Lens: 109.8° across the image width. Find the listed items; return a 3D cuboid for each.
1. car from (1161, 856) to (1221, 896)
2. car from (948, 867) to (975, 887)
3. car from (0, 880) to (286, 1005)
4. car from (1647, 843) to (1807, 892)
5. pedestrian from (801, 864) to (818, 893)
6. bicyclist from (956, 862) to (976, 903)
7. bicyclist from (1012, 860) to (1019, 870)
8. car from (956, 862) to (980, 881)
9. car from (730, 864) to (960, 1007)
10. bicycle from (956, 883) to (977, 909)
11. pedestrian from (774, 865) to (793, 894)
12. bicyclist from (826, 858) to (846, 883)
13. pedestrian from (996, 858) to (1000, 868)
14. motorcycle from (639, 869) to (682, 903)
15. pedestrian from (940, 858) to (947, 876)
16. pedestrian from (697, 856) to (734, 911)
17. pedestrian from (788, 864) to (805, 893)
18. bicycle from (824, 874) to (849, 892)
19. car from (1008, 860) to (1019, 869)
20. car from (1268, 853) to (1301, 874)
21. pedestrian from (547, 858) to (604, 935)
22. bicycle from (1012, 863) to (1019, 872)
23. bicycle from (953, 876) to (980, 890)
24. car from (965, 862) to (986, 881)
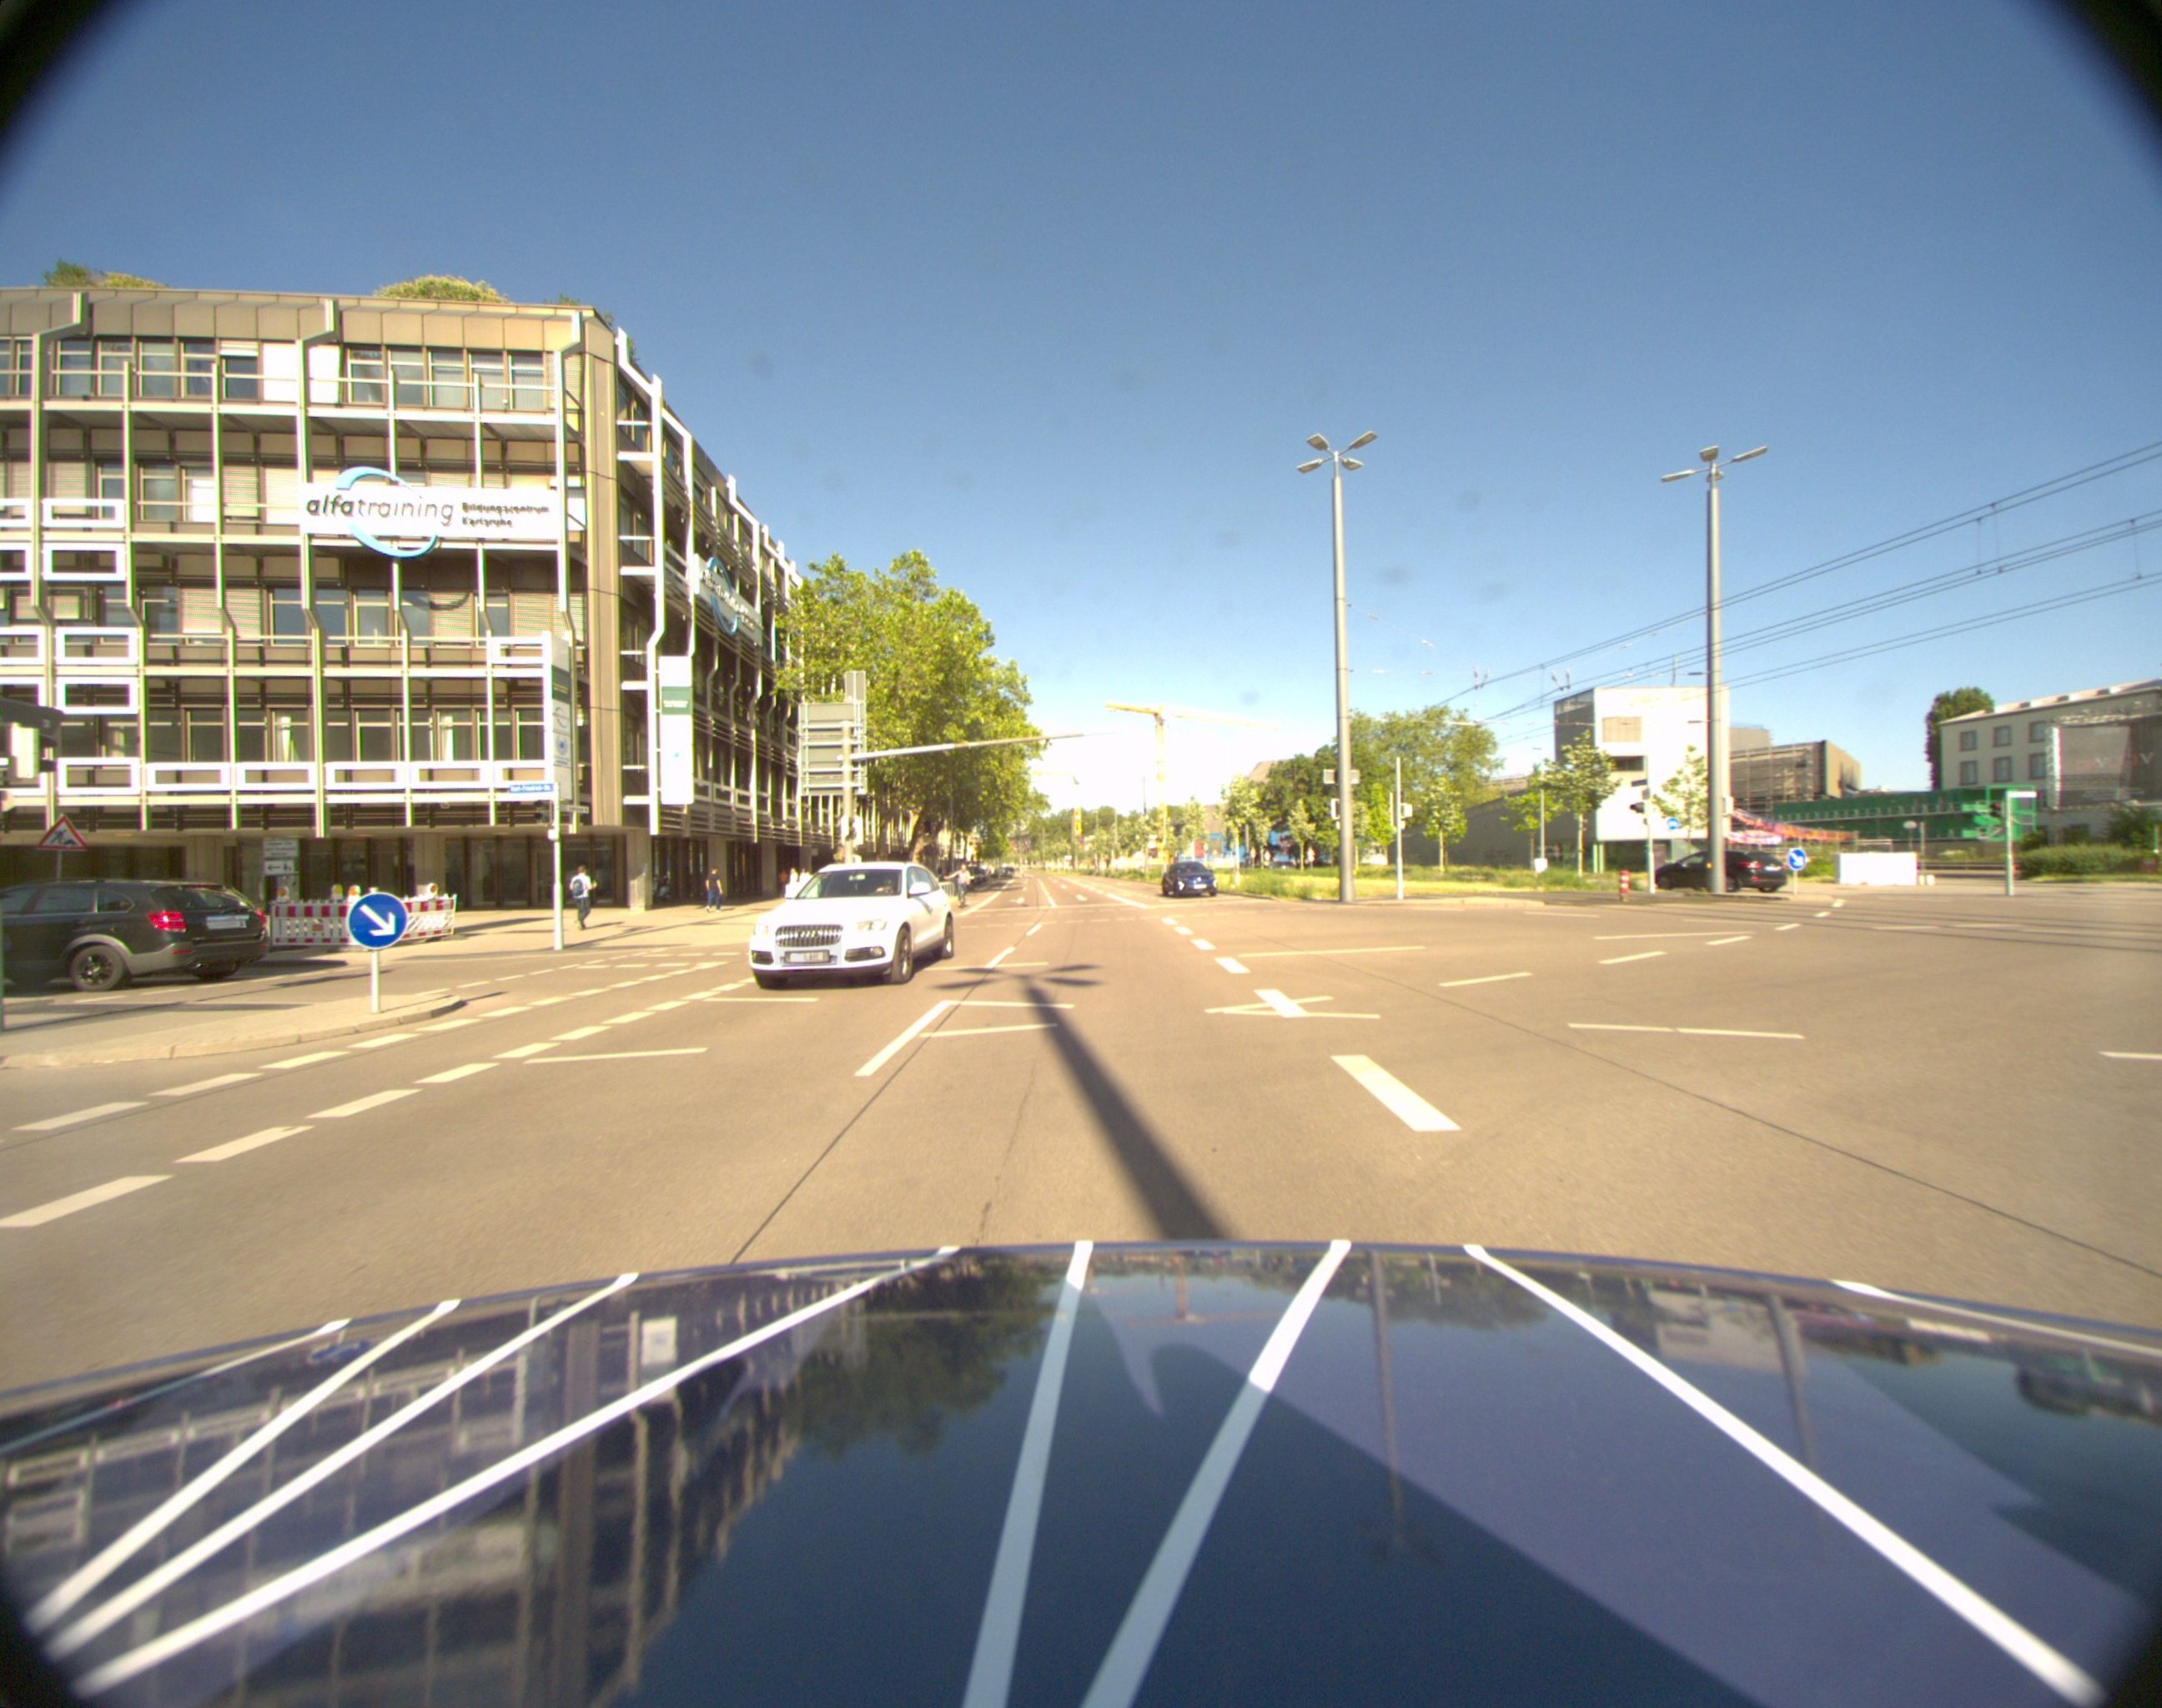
[{"bbox_3d":[4.829,0.944,33.978,1.775,1.579,4.087,-3,0,-4],"label":"car"},{"bbox_3d":[-9.630,1.831,61.275,1.753,1.481,4.558,0,0,-4],"label":"car"},{"bbox_3d":[-15.764,1.352,11.913,4.411,1.689,1.789,-2,0,-5],"label":"car"},{"bbox_3d":[24.693,0.478,29.315,2.000,1.697,4.557,-1,0,-7],"label":"car"},{"bbox_3d":[-15.145,1.357,42.434,0.668,1.591,0.727,1,0,-3],"label":"pedestrian"},{"bbox_3d":[-4.886,1.202,32.312,0.711,1.677,0.852,-4,0,-5],"label":"bicyclist"},{"bbox_3d":[-8.852,1.494,102.676,0.830,1.380,0.903,-2,0,-3],"label":"bicyclist"},{"bbox_3d":[-10.039,1.574,67.942,1.753,1.624,4.336,0,0,-4],"label":"car"},{"bbox_3d":[-3.130,0.986,11.133,1.824,1.604,4.413,-1,0,2],"label":"car"},{"bbox_3d":[-4.866,1.759,32.396,0.711,0.987,1.923,-4,0,-5],"label":"bicycle"},{"bbox_3d":[-16.698,1.408,42.686,0.668,1.591,1.009,1,0,-3],"label":"pedestrian"},{"bbox_3d":[-14.278,0.959,44.232,0.883,1.468,0.883,-1,0,-4],"label":"bicyclist"},{"bbox_3d":[-14.985,1.590,137.203,0.591,1.830,0.569,-2,0,-4],"label":"pedestrian"},{"bbox_3d":[-18.843,1.417,34.108,0.825,1.433,2.122,-1,0,-3],"label":"motorcycle"},{"bbox_3d":[-15.797,1.463,87.239,0.742,2.002,0.625,-2,0,-12],"label":"pedestrian"},{"bbox_3d":[-13.758,1.109,28.642,0.950,2.002,1.078,-2,0,-11],"label":"pedestrian"},{"bbox_3d":[-16.003,1.349,42.700,0.668,1.591,0.728,1,0,-1],"label":"pedestrian"},{"bbox_3d":[-14.269,1.667,44.427,0.883,0.979,2.050,-1,0,-4],"label":"bicycle"},{"bbox_3d":[-13.166,2.052,148.093,1.999,1.597,3.894,-2,0,-5],"label":"car"},{"bbox_3d":[19.815,0.925,74.251,1.876,1.944,3.999,-1,0,-4],"label":"car"},{"bbox_3d":[-13.656,1.111,20.569,0.950,2.002,1.078,-1,0,-15],"label":"pedestrian"},{"bbox_3d":[-8.851,1.829,102.673,0.845,1.123,2.552,-2,0,-3],"label":"bicycle"},{"bbox_3d":[-8.006,2.059,53.110,1.849,0.954,0.711,0,0,-8],"label":"bicycle"},{"bbox_3d":[-10.201,1.698,73.710,1.753,1.810,4.336,0,0,-4],"label":"car"}]
